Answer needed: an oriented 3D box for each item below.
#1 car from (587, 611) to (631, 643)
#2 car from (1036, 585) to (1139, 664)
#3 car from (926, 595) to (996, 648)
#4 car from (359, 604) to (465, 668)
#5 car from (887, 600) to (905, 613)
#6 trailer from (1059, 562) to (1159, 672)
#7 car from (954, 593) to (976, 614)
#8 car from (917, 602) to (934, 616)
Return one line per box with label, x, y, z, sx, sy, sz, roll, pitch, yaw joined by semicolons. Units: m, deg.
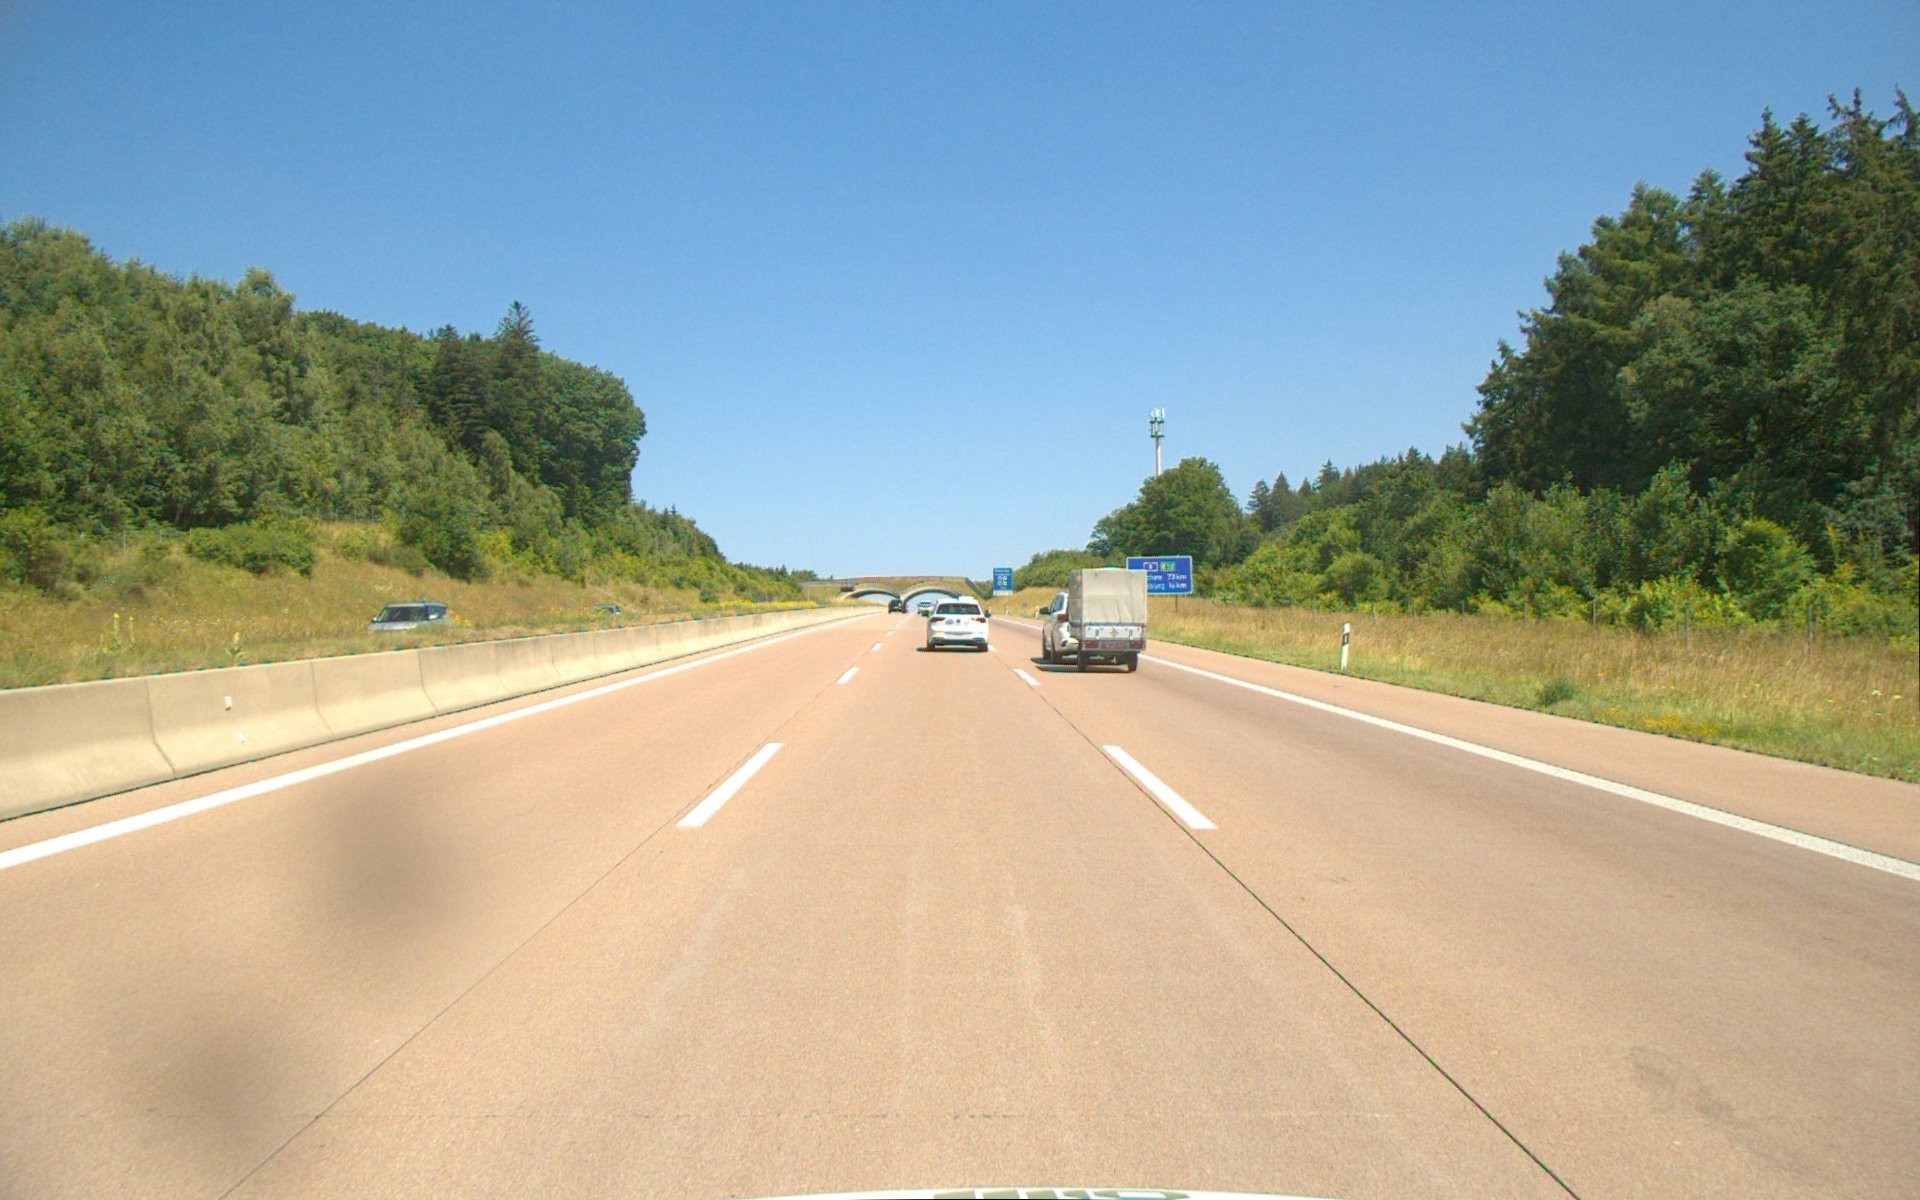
car;-20.538;1.578;96.828;1.853;1.769;4.461;0;0;-3
car;2.981;0.564;39.666;1.853;1.758;5.183;0;0;-3
car;-0.014;0.589;47.021;1.852;1.422;3.999;1;0;-2
car;-16.289;1.036;49.394;1.853;1.769;4.462;0;0;-3
car;-7.528;0.806;195.575;1.852;1.489;4.000;0;0;1
trailer;3.100;0.351;35.081;1.624;2.202;4.014;0;0;-2
car;0.523;0.361;164.633;2.067;2.090;4.000;0;0;1
car;-3.779;0.935;182.843;1.852;1.489;3.999;1;0;-1
